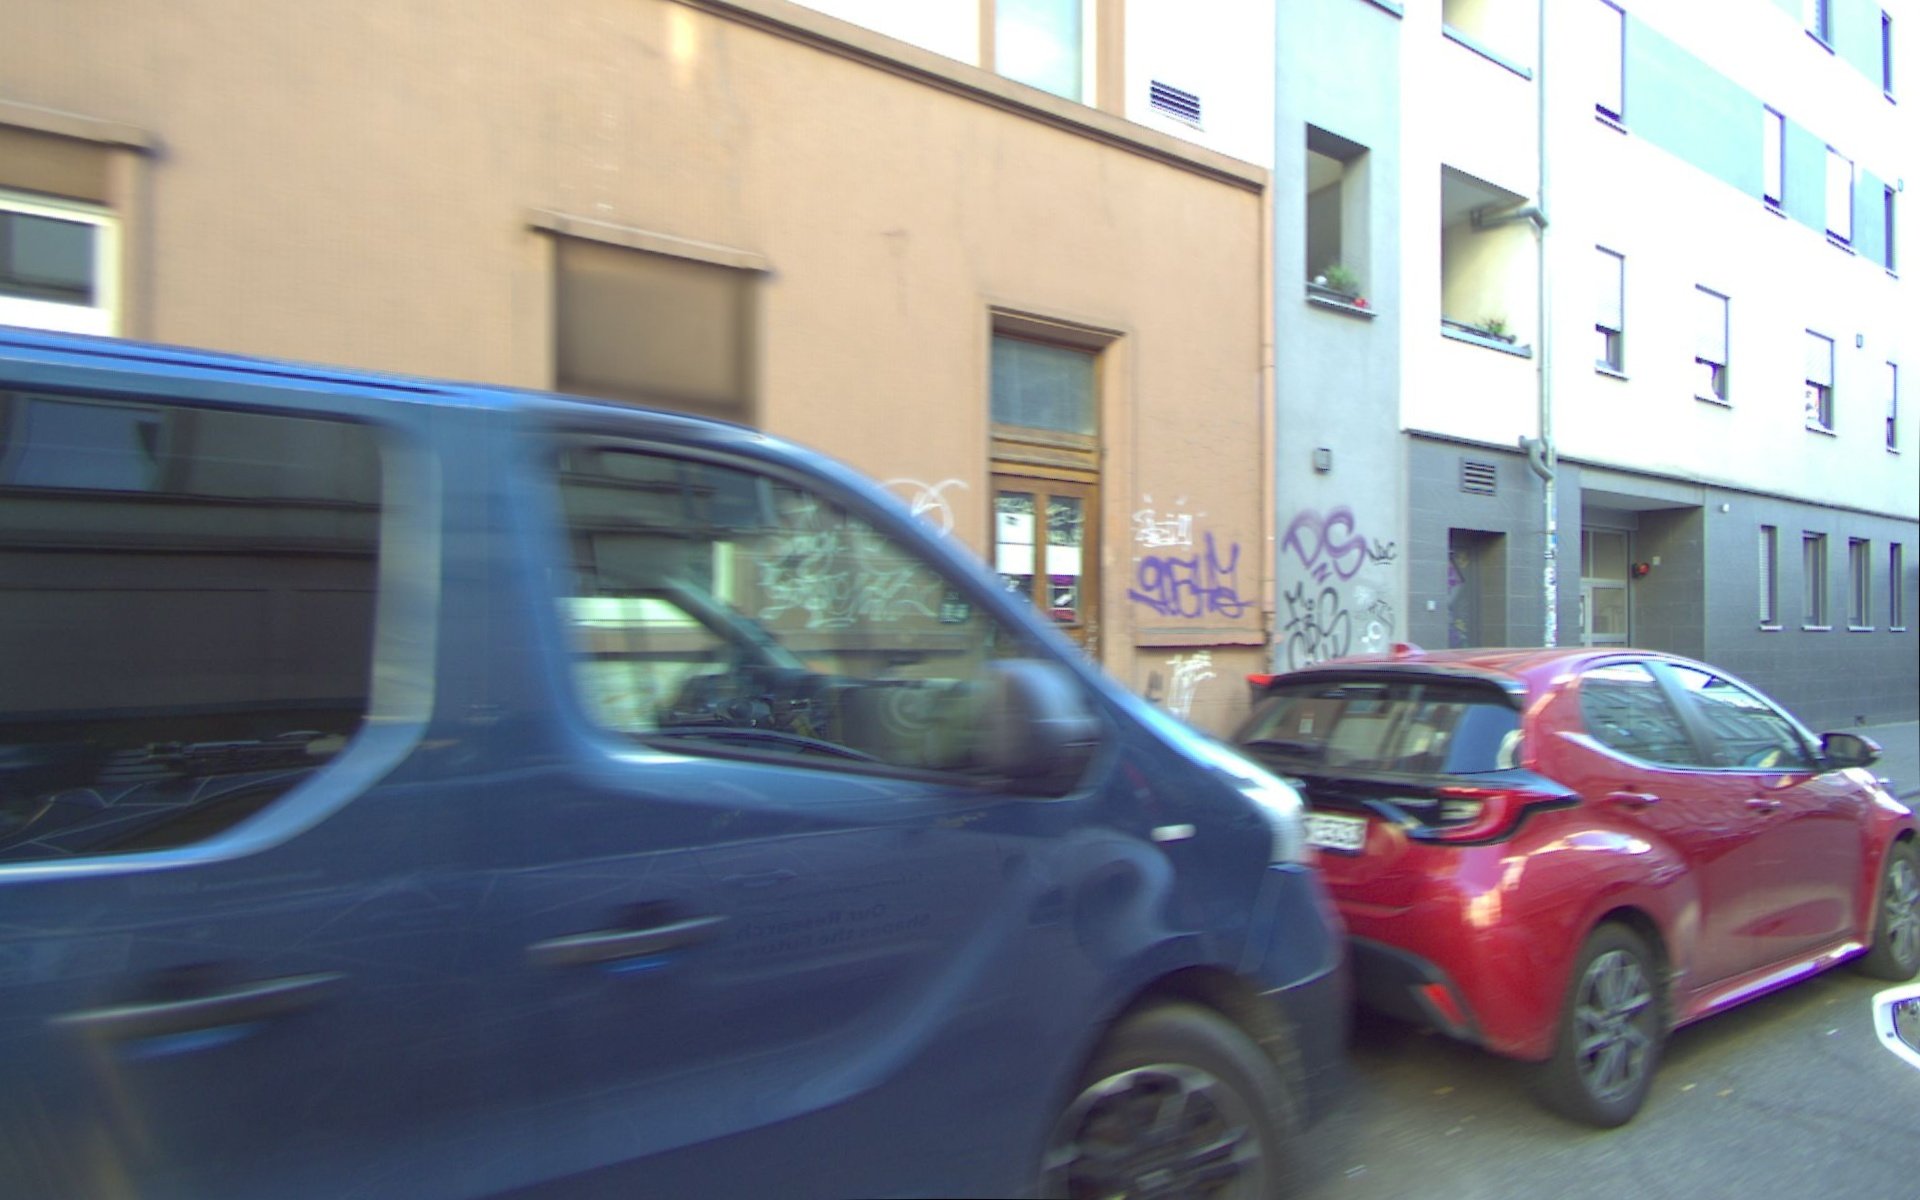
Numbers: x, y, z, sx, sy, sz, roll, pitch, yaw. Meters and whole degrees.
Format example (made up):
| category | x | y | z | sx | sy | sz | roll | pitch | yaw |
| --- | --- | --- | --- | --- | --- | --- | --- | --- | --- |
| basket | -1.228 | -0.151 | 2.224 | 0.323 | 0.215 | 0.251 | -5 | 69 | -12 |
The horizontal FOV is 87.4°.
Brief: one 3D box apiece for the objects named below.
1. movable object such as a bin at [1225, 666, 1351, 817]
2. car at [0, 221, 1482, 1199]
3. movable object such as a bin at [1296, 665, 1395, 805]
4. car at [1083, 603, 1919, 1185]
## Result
| category | x | y | z | sx | sy | sz | roll | pitch | yaw |
| --- | --- | --- | --- | --- | --- | --- | --- | --- | --- |
| movable object such as a bin | 2.567 | 1.088 | 7.929 | 0.640 | 1.081 | 0.760 | 1 | -1 | -12 |
| car | -1.415 | 0.528 | 2.116 | 5.235 | 1.904 | 2.011 | 1 | 0 | -31 |
| movable object such as a bin | 3.256 | 1.114 | 8.480 | 0.716 | 1.081 | 0.506 | 1 | -1 | 28 |
| car | 2.596 | 0.902 | 4.464 | 3.826 | 1.541 | 1.742 | 2 | -5 | -32 |
